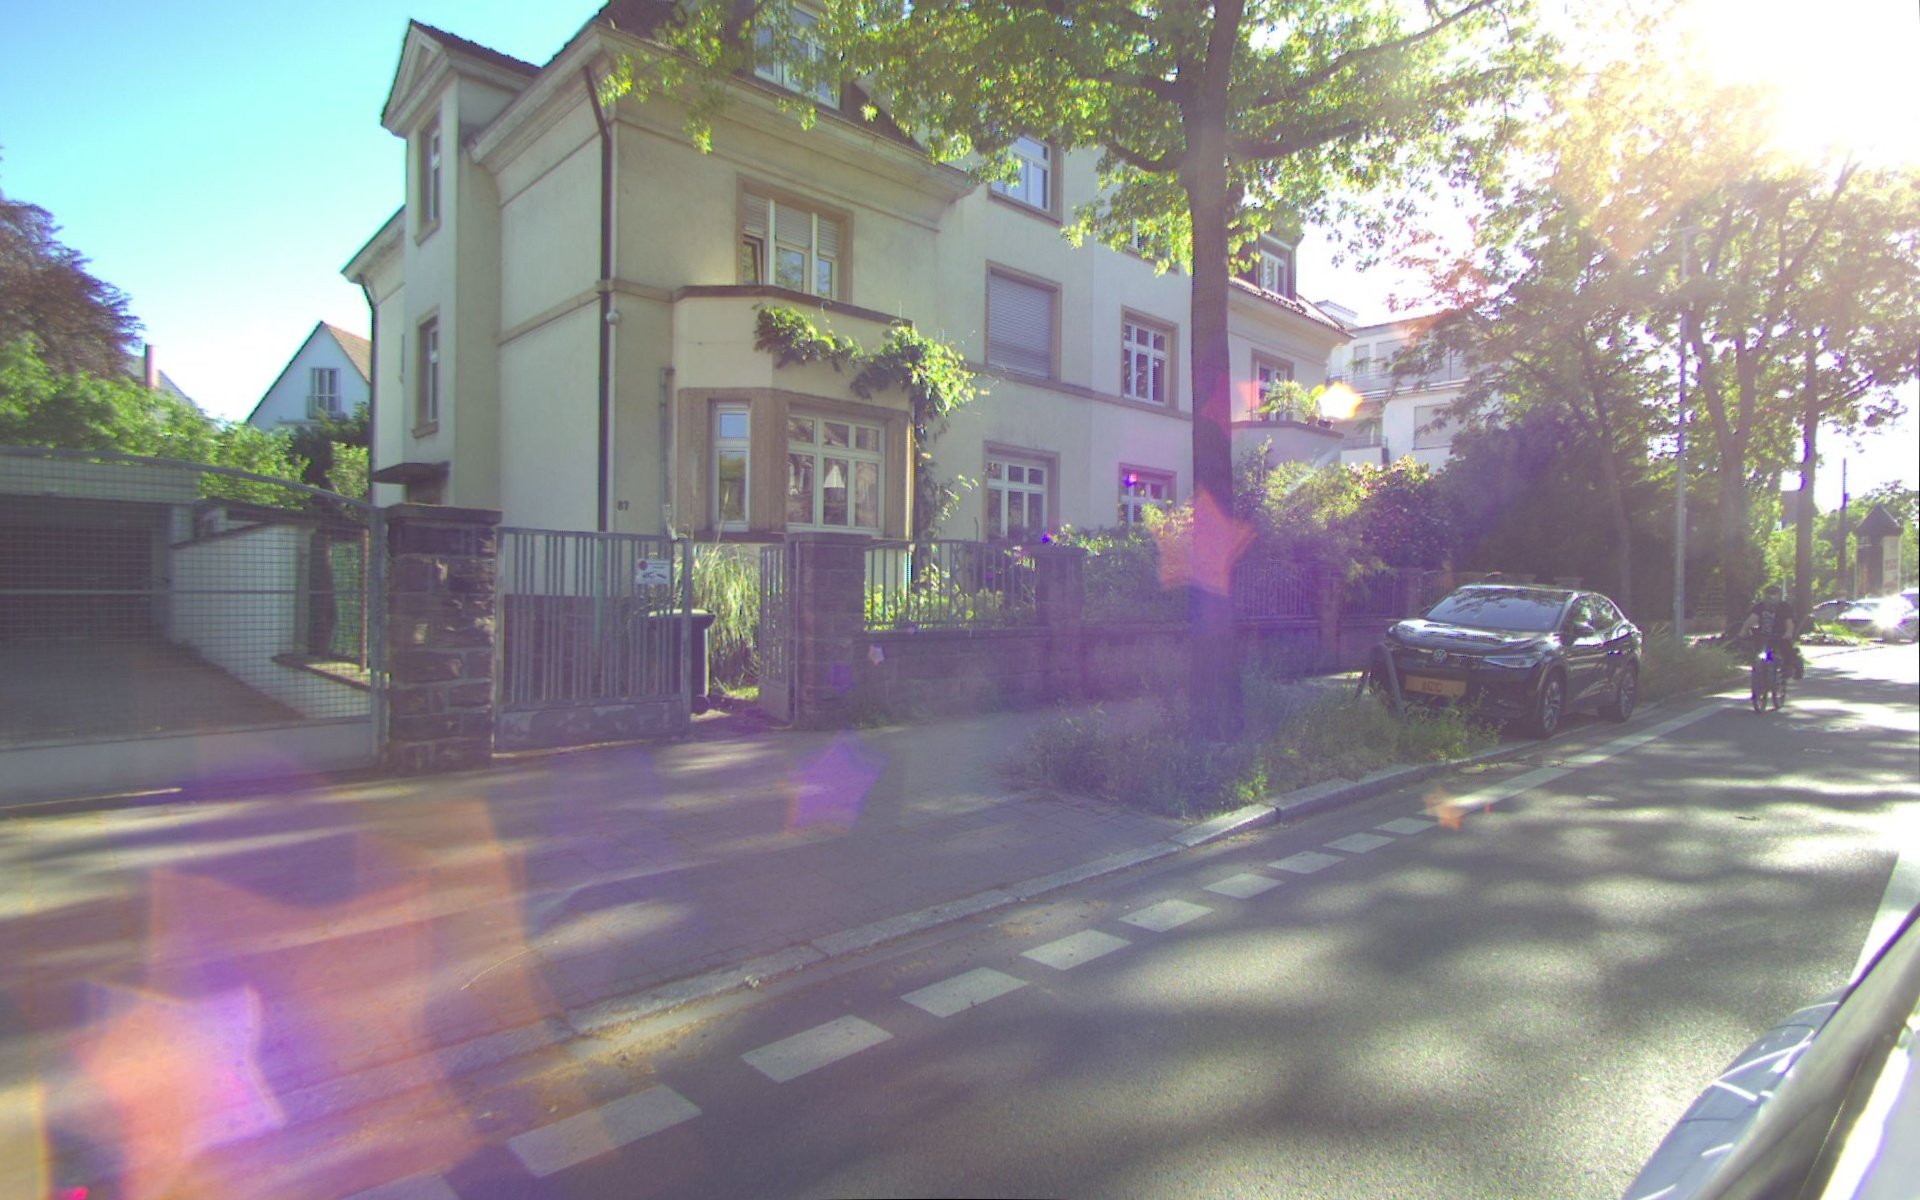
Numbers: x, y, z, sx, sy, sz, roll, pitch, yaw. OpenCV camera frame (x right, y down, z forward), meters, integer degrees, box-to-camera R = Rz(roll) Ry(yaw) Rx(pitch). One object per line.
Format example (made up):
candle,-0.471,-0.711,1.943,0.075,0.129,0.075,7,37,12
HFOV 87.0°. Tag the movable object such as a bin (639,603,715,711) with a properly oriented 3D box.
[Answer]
movable object such as a bin,-3.044,0.577,10.834,0.697,1.070,1.093,0,0,-20

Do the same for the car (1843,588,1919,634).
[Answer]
car,31.544,0.334,34.407,3.930,1.469,1.785,0,1,-41

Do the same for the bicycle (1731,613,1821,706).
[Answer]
bicycle,11.156,0.777,13.820,1.783,1.158,0.644,0,0,-41

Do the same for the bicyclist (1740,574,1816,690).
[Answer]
bicyclist,11.175,0.423,13.820,1.095,1.507,0.622,1,-1,-41

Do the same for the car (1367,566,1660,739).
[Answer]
car,6.686,0.493,12.046,4.021,1.626,1.743,0,4,-42

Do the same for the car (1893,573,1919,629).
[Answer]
car,36.780,0.047,38.068,4.503,2.039,1.997,0,1,-41
